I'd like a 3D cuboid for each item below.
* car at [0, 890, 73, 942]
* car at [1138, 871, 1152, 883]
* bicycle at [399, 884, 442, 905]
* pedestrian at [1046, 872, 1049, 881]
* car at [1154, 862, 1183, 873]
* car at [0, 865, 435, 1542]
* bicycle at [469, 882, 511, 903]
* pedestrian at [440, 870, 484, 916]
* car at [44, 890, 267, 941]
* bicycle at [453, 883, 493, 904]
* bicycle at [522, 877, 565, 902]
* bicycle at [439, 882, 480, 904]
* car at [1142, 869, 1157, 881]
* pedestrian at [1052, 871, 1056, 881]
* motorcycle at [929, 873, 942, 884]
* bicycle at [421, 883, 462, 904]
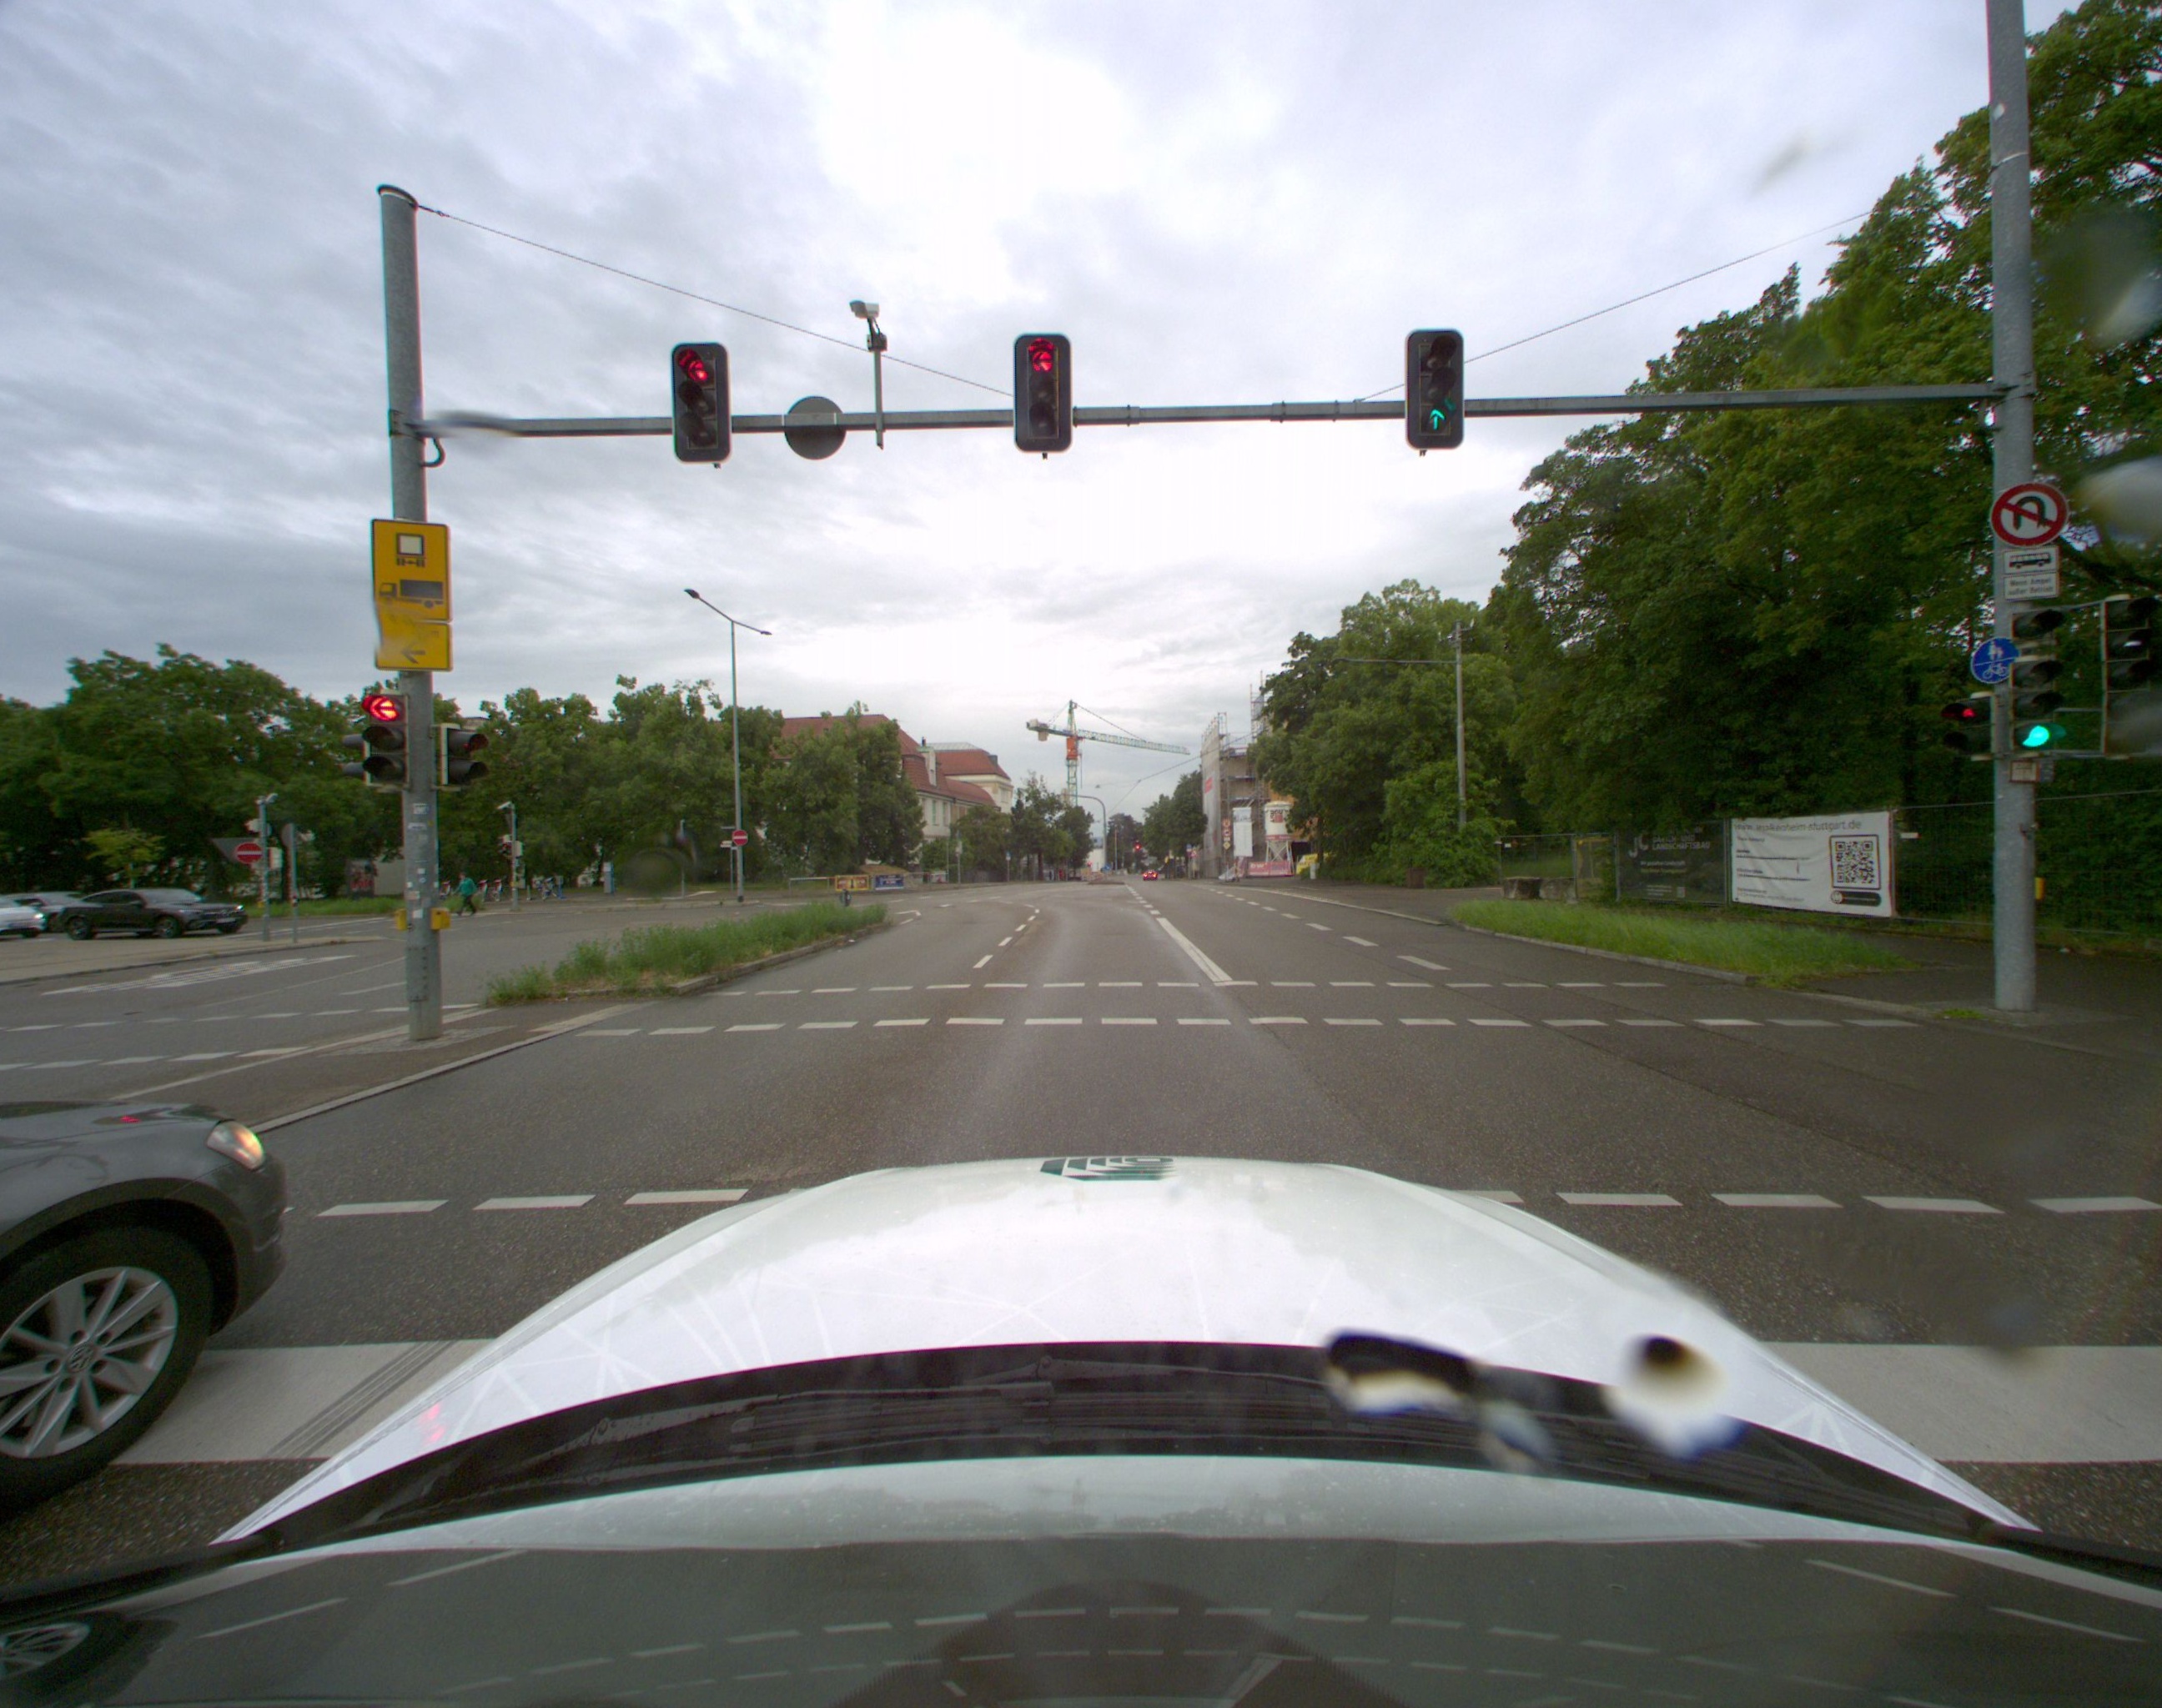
[{"bbox_3d":[-36.501,2.041,27.050,3.539,1.594,2.001,0,-1,1],"label":"car"},{"bbox_3d":[10.193,3.656,130.868,1.986,1.750,4.001,-2,0,1],"label":"car"},{"bbox_3d":[-35.969,2.182,44.365,0.649,1.071,1.982,0,-1,2],"label":"bicycle"},{"bbox_3d":[-5.261,3.506,127.572,0.473,1.396,0.411,-2,0,1],"label":"pedestrian"},{"bbox_3d":[19.875,3.160,185.161,6.208,2.403,2.829,0,-1,-32],"label":"car"},{"bbox_3d":[-3.345,0.801,0.795,1.809,1.481,4.378,-2,0,2],"label":"car"},{"bbox_3d":[-32.274,2.070,44.506,0.798,1.071,1.982,0,-1,2],"label":"bicycle"},{"bbox_3d":[-23.560,1.471,31.010,0.917,1.727,0.948,-1,-1,8],"label":"pedestrian"},{"bbox_3d":[-30.080,1.988,26.585,5.006,1.500,2.001,0,-1,1],"label":"car"},{"bbox_3d":[-33.023,2.122,44.274,0.649,1.071,1.982,0,-1,2],"label":"bicycle"},{"bbox_3d":[-29.441,1.935,44.615,0.987,1.249,1.982,0,-1,2],"label":"bicycle"},{"bbox_3d":[-33.913,2.118,44.449,0.649,1.071,1.982,0,-1,2],"label":"bicycle"},{"bbox_3d":[10.513,3.181,124.698,1.986,1.750,4.001,-2,0,1],"label":"car"},{"bbox_3d":[-4.245,3.425,127.573,0.491,1.645,0.534,-1,-1,7],"label":"pedestrian"},{"bbox_3d":[-11.680,1.941,65.362,0.846,0.877,0.877,0,-1,1],"label":"motorcycle"},{"bbox_3d":[-34.992,2.146,44.580,0.649,1.071,1.982,0,-1,2],"label":"bicycle"}]
